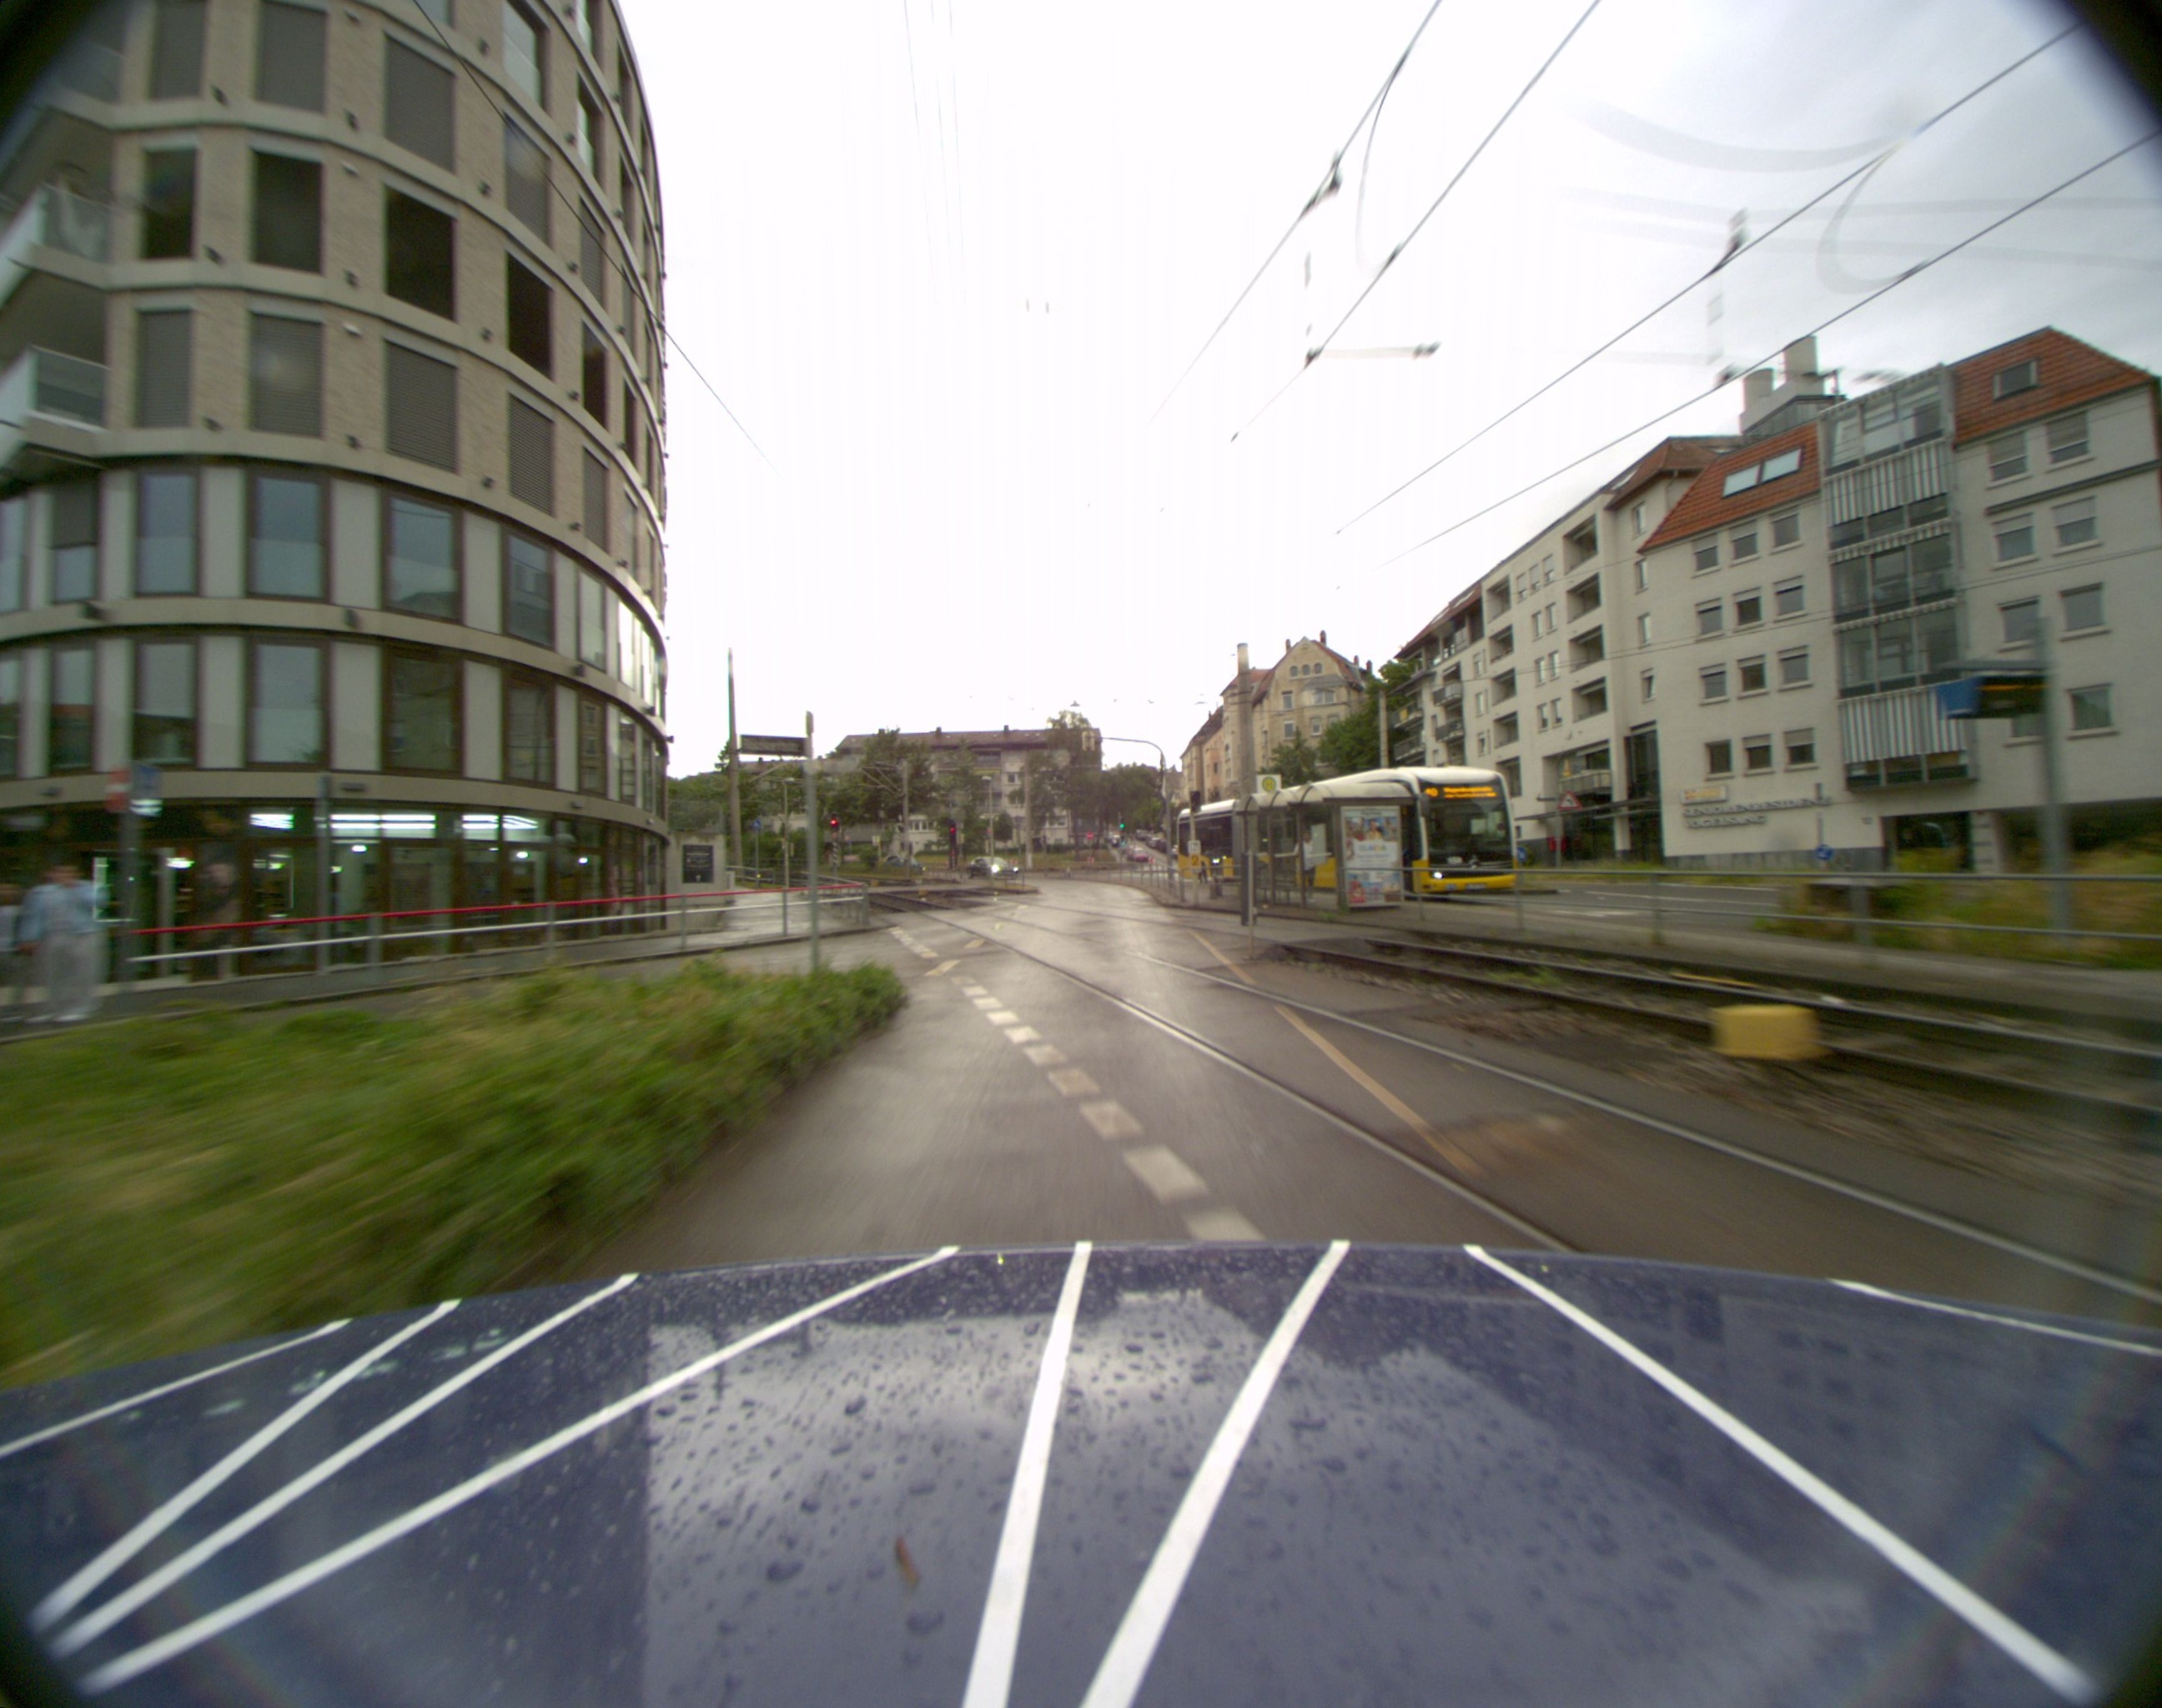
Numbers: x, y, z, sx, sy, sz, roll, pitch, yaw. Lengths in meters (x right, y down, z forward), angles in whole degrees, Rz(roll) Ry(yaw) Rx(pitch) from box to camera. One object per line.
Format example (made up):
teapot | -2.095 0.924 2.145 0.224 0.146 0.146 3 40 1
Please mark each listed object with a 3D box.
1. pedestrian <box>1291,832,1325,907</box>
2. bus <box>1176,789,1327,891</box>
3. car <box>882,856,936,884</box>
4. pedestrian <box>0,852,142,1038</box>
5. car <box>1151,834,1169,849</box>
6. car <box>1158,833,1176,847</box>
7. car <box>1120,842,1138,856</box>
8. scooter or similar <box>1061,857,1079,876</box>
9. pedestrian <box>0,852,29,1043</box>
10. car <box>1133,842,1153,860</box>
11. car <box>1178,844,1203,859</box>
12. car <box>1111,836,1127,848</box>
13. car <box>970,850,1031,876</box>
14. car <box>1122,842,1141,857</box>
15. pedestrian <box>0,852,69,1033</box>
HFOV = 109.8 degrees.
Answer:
pedestrian | 5.382 0.363 18.031 0.578 1.742 0.542 0 1 -13
bus | 6.412 -0.530 30.506 2.599 3.449 9.098 0 1 -10
car | -9.226 0.813 41.112 1.999 1.355 3.999 -1 1 0
pedestrian | -11.544 0.978 8.660 0.658 2.002 0.890 0 1 -15
car | 10.883 -1.705 104.727 1.999 2.002 3.999 0 1 -2
car | 11.374 -1.814 100.881 1.680 1.824 3.664 0 1 -4
car | 6.376 -0.656 101.564 1.805 1.824 4.281 0 1 -4
scooter or similar | -0.700 0.731 46.354 0.435 1.107 1.601 -2 1 -26
pedestrian | -11.668 0.982 7.790 0.685 2.002 0.785 0 1 -15
car | 6.999 -0.356 85.729 1.998 2.002 4.000 0 0 1
car | 12.163 -0.270 84.795 1.999 1.584 4.355 0 1 -2
car | 5.746 -1.832 114.674 1.805 1.824 4.281 0 1 -4
car | -5.217 0.555 48.648 1.817 1.607 4.292 -2 1 -39
car | 6.433 -0.543 96.590 1.805 1.824 4.281 0 1 -4
pedestrian | -12.299 0.978 8.570 0.593 2.002 0.891 0 1 -6
